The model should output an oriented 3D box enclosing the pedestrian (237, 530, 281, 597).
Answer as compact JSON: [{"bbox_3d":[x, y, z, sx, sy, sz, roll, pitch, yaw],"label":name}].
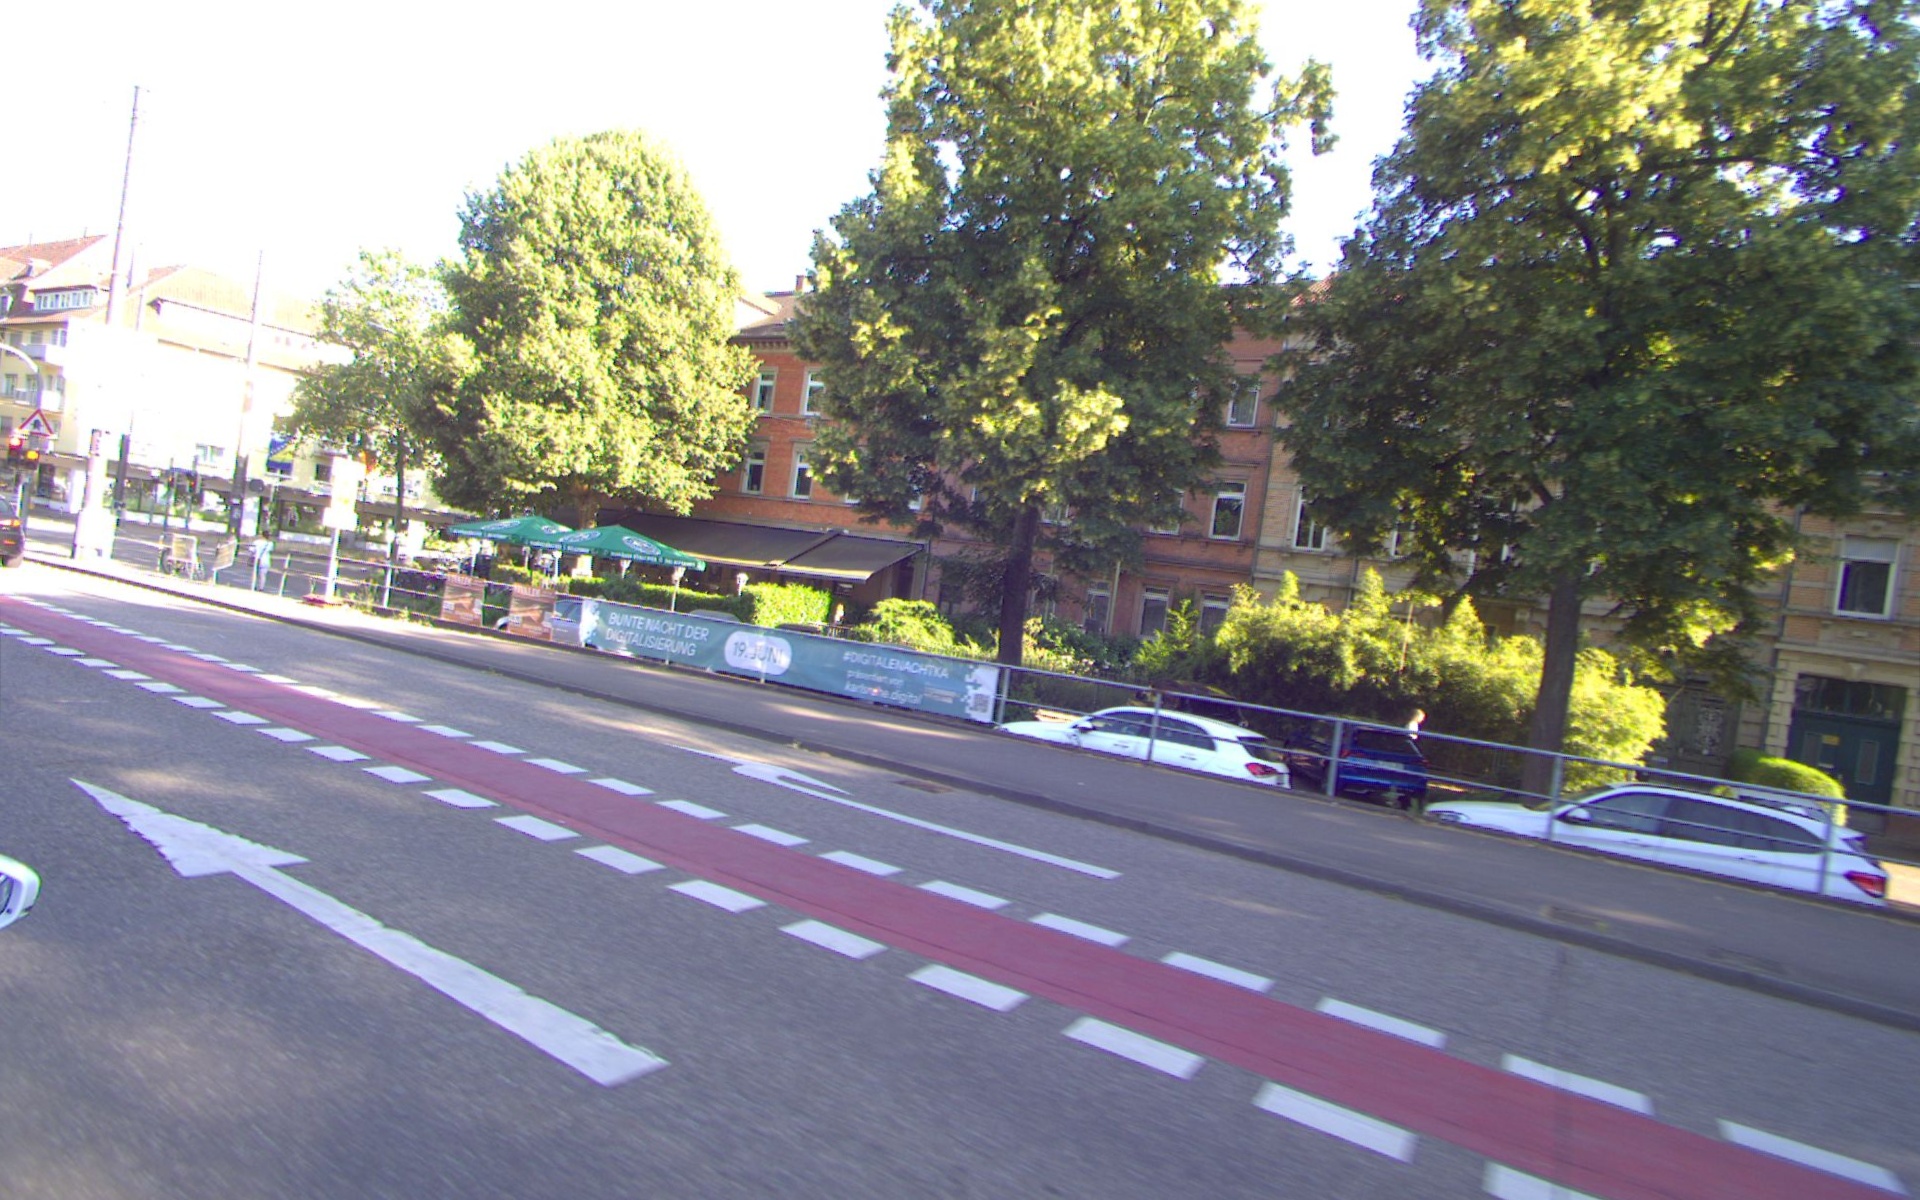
[{"bbox_3d":[-17.642,-0.917,25.320,0.646,1.580,0.625,10,-2,-39],"label":"pedestrian"}]

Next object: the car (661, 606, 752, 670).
[{"bbox_3d":[-7.121,1.025,28.636,1.748,1.365,3.995,7,1,-5],"label":"car"}]

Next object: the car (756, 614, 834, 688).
[{"bbox_3d":[-4.418,1.330,27.394,1.769,1.498,3.993,7,1,-7],"label":"car"}]

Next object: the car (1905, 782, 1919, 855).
[{"bbox_3d":[21.683,4.918,21.049,1.769,1.541,3.571,7,0,29],"label":"car"}]

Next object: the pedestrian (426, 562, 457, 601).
[{"bbox_3d":[-19.556,-0.690,37.936,0.621,1.352,0.649,7,-2,32],"label":"pedestrian"}]

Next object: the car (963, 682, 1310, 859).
[{"bbox_3d":[2.450,2.282,14.285,4.369,1.597,1.798,6,-2,32],"label":"car"}]

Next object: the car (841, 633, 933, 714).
[{"bbox_3d":[-1.764,1.761,25.148,1.929,1.424,4.246,8,1,-3],"label":"car"}]

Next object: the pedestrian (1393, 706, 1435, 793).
[{"bbox_3d":[9.820,3.216,21.753,0.621,1.767,0.649,7,0,27],"label":"pedestrian"}]

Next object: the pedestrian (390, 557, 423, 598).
[{"bbox_3d":[-20.275,-0.825,36.849,0.621,1.352,0.649,7,-2,32],"label":"pedestrian"}]

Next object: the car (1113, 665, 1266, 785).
[{"bbox_3d":[4.691,2.519,21.189,1.768,1.757,3.994,7,1,-5],"label":"car"}]

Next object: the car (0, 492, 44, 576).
[{"bbox_3d":[-19.473,-1.487,19.203,3.978,1.455,1.804,7,-2,32],"label":"car"}]

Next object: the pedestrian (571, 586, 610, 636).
[{"bbox_3d":[-10.913,0.338,29.711,0.621,1.352,0.649,7,-2,32],"label":"pedestrian"}]

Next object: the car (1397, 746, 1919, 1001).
[{"bbox_3d":[7.554,2.837,11.354,4.478,1.597,1.798,6,-2,32],"label":"car"}]

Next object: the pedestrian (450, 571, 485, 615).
[{"bbox_3d":[-16.673,-0.250,34.055,0.621,1.352,0.649,7,-2,32],"label":"pedestrian"}]

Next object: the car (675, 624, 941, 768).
[{"bbox_3d":[-2.665,1.622,17.630,4.136,1.824,1.800,6,-2,25],"label":"car"}]

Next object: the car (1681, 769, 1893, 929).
[{"bbox_3d":[12.989,3.805,16.080,1.769,1.533,3.992,8,1,30],"label":"car"}]

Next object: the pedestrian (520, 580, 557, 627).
[{"bbox_3d":[-13.205,0.108,31.531,0.621,1.352,0.649,7,-2,32],"label":"pedestrian"}]

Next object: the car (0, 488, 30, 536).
[{"bbox_3d":[-32.837,-3.063,32.844,1.773,1.528,3.988,8,0,-14],"label":"car"}]

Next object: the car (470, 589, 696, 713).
[{"bbox_3d":[-7.684,1.019,20.401,4.285,1.920,1.798,6,-2,30],"label":"car"}]

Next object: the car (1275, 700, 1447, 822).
[{"bbox_3d":[7.761,3.065,19.902,1.766,1.533,3.999,8,1,2],"label":"car"}]

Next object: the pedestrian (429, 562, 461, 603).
[{"bbox_3d":[-18.994,-0.647,37.134,0.621,1.352,0.649,7,-2,32],"label":"pedestrian"}]

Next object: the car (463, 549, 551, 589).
[{"bbox_3d":[-24.433,-1.672,54.328,3.967,1.528,1.782,8,-1,-37],"label":"car"}]

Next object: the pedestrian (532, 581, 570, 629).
[{"bbox_3d":[-12.590,0.167,30.976,0.621,1.352,0.649,7,-2,32],"label":"pedestrian"}]

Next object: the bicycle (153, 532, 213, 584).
[{"bbox_3d":[-19.139,-1.043,24.768,1.770,1.087,0.499,6,-1,32],"label":"bicycle"}]

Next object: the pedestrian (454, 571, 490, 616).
[{"bbox_3d":[-16.076,-0.208,33.126,0.621,1.352,0.649,7,-2,32],"label":"pedestrian"}]

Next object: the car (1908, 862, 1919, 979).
[{"bbox_3d":[11.258,3.303,9.056,3.517,1.458,1.798,6,-2,30],"label":"car"}]

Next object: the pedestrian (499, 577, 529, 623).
[{"bbox_3d":[-14.077,0.004,31.746,0.643,1.352,0.627,10,-2,-28],"label":"pedestrian"}]
